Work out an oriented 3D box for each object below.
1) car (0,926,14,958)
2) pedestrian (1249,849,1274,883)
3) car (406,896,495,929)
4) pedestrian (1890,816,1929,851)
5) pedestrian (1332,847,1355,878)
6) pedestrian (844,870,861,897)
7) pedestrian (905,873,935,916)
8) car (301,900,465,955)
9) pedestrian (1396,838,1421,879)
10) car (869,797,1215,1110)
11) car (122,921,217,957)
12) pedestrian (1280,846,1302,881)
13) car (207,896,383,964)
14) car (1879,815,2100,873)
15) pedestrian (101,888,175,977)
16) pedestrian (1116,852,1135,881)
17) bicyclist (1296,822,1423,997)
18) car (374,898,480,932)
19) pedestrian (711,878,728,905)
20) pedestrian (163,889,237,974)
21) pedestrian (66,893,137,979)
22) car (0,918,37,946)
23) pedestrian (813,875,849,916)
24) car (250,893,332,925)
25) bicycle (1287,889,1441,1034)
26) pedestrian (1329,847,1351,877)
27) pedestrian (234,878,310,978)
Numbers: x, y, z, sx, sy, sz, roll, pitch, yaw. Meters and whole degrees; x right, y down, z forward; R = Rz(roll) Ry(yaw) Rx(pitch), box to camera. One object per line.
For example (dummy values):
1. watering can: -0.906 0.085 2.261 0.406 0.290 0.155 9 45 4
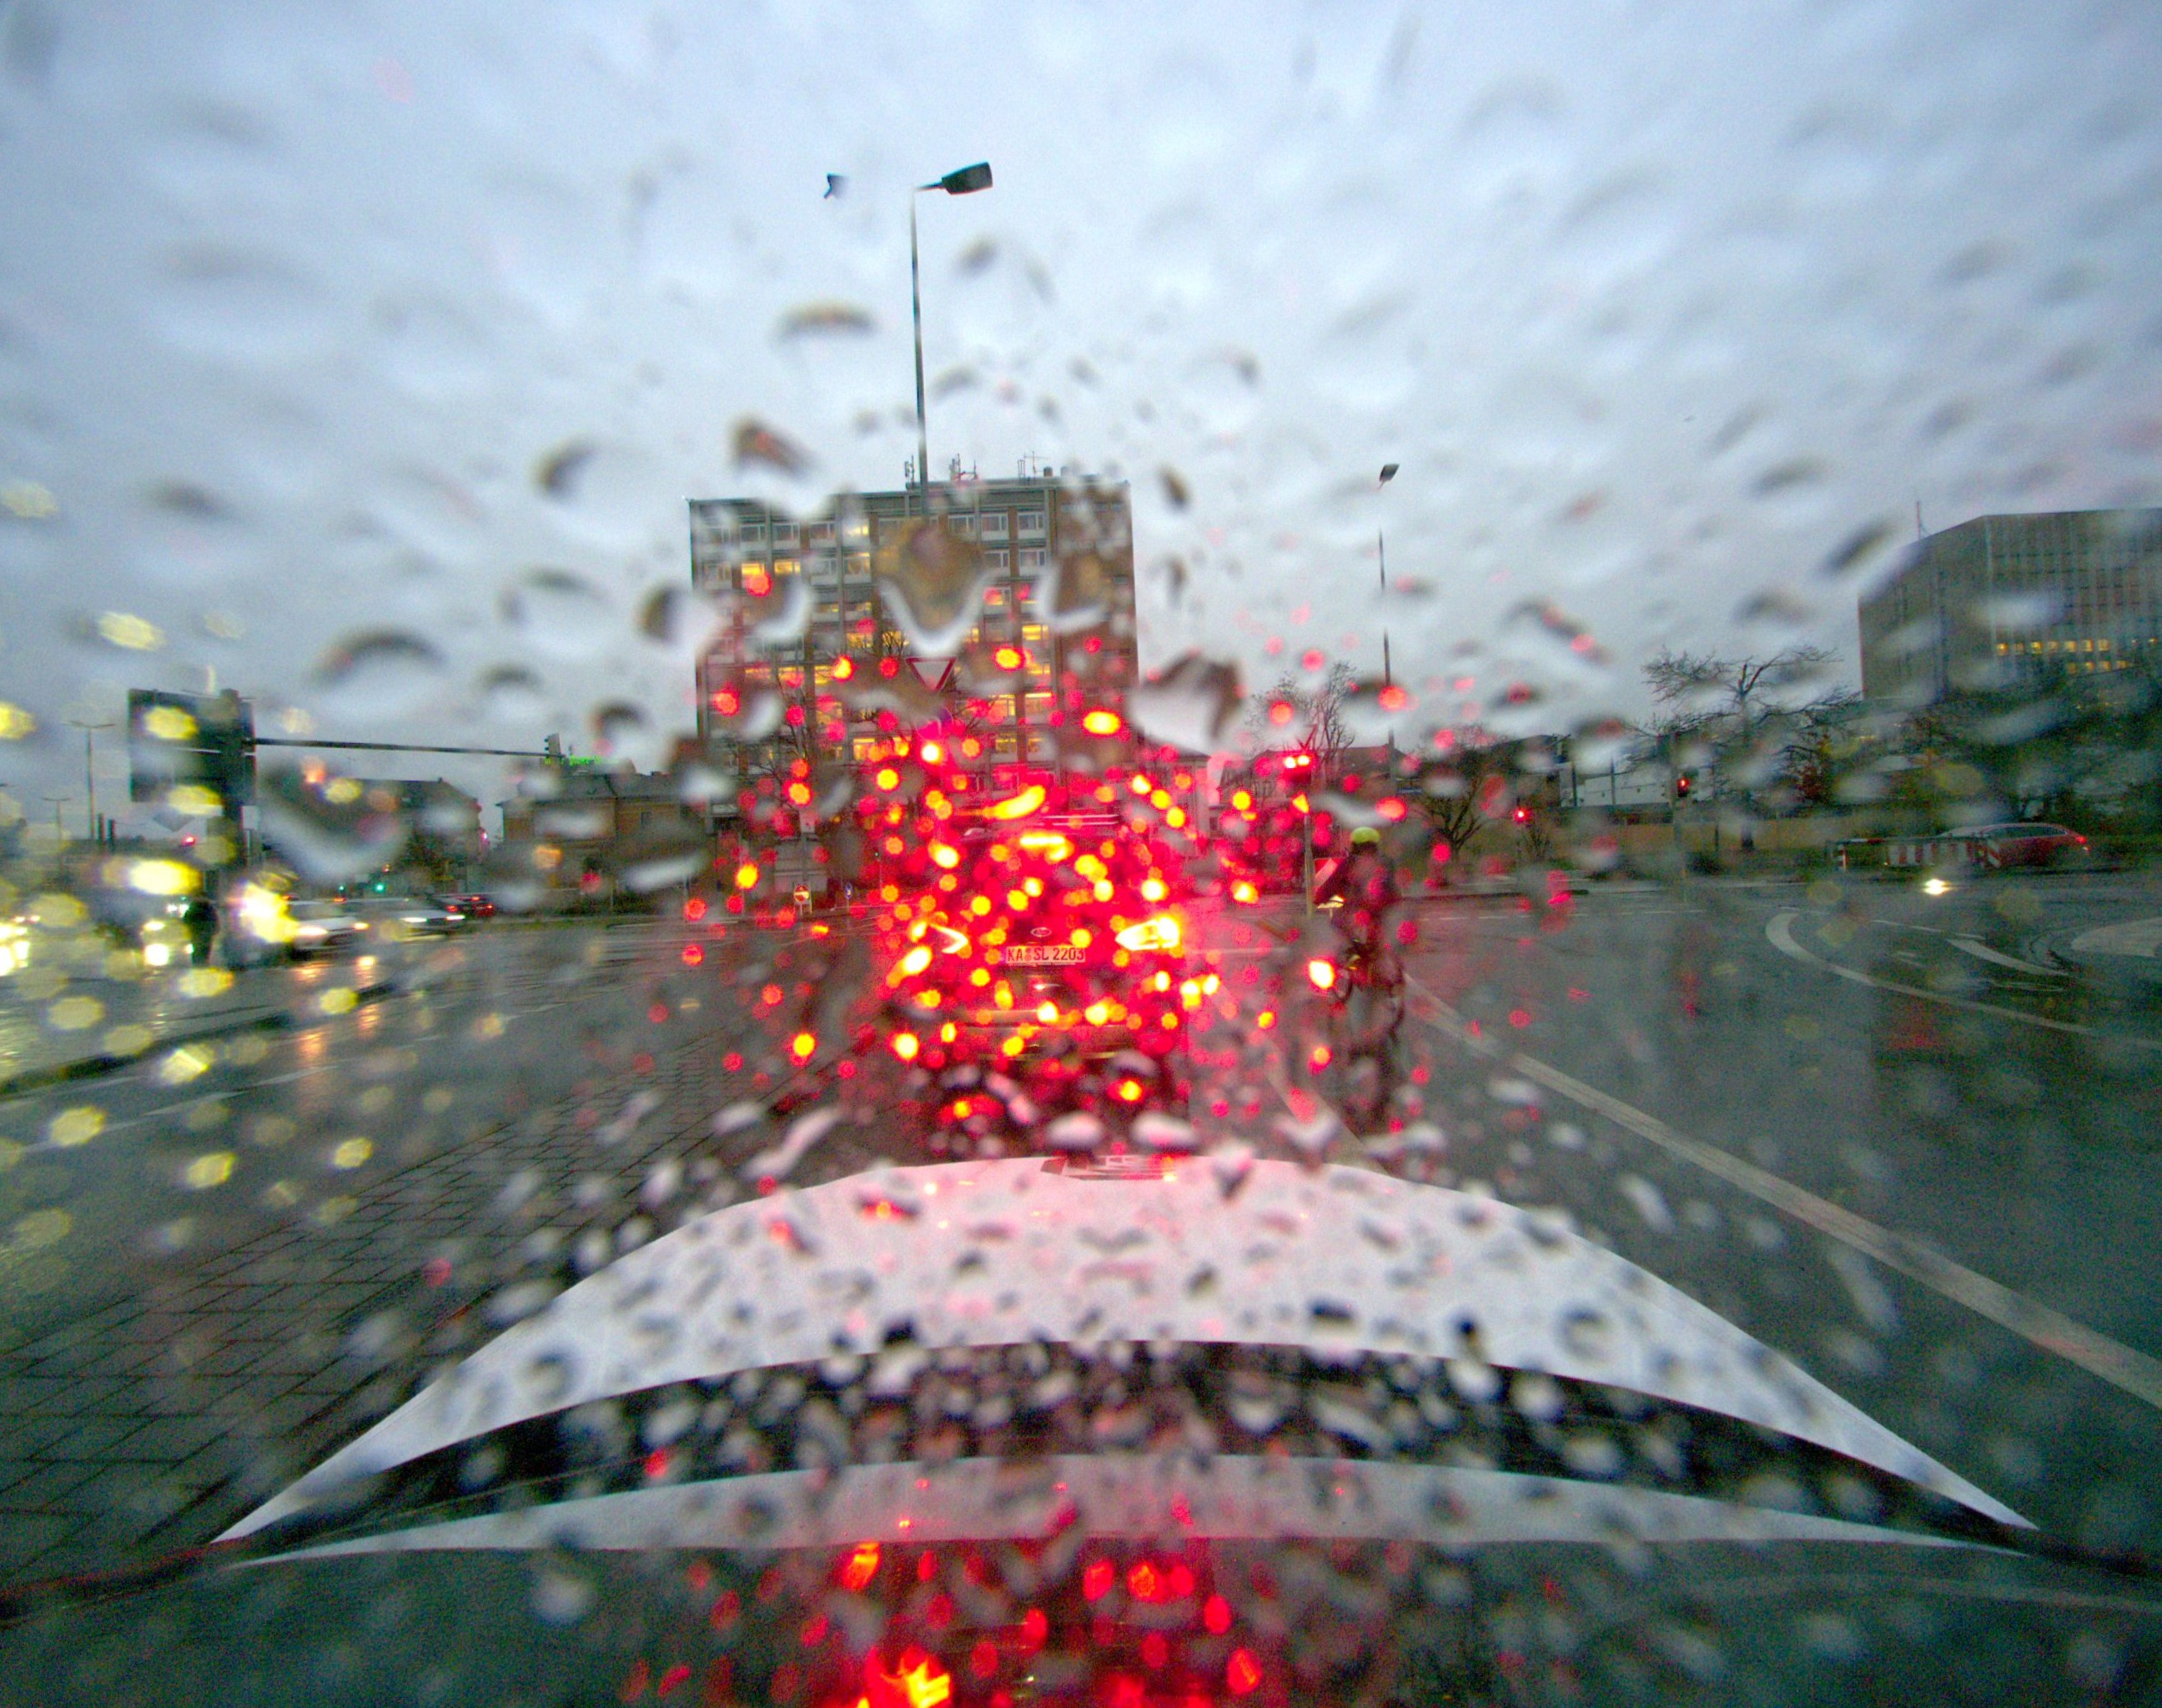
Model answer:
1. car: -52.882 4.265 38.413 4.538 1.477 1.820 -3 -1 20
2. pedestrian: 9.410 0.613 42.424 1.127 1.720 0.984 -3 0 12
3. car: -33.331 3.054 43.077 3.954 1.568 1.836 -1 -1 20
4. pedestrian: 39.848 -0.995 39.187 0.956 1.603 0.796 -3 0 9
5. pedestrian: 13.559 0.446 42.077 0.919 1.533 1.045 -3 0 8
6. pedestrian: -14.016 1.801 49.922 0.753 1.628 0.560 -3 0 16
7. pedestrian: -7.901 1.988 40.015 0.918 1.978 0.966 -3 0 33
8. car: -23.254 2.444 27.160 4.646 1.552 1.948 -3 -1 18
9. pedestrian: 17.409 0.247 43.297 0.879 2.113 0.896 -3 0 2
10. car: -0.165 0.588 6.689 1.986 1.789 4.001 0 -1 2
11. car: -42.605 3.966 38.074 3.919 1.477 1.821 -3 -1 24
12. pedestrian: 11.241 0.477 43.556 0.990 1.799 0.922 -3 0 10
13. car: -21.236 2.043 22.051 3.673 1.448 1.753 -5 -1 16
14. car: 27.607 -0.271 24.885 4.390 1.477 1.814 -3 -1 6
15. pedestrian: -20.789 1.709 17.969 0.733 1.838 0.674 -3 0 -11
16. pedestrian: 2.567 0.745 47.384 0.764 1.628 0.715 -3 0 -27
17. bicyclist: 2.470 0.469 7.354 0.780 1.453 1.134 0 -1 2
18. car: -32.522 3.028 40.566 3.966 1.568 1.830 0 -1 6
19. pedestrian: -23.800 2.461 53.593 0.634 1.688 0.640 -3 0 18
20. pedestrian: -19.545 1.705 18.075 0.653 1.755 0.856 -3 0 18
21. pedestrian: -21.489 1.779 17.874 0.741 1.770 0.546 -3 0 -12
22. car: -62.152 4.495 46.564 4.615 1.477 1.821 -3 -1 23
23. pedestrian: -12.087 2.012 39.391 0.991 1.842 1.146 -3 2 31
24. car: -51.161 3.530 52.773 1.649 1.826 3.609 -1 -1 39
25. bicycle: 2.492 0.897 7.438 0.780 1.075 1.958 0 -1 2
26. pedestrian: 13.717 0.433 43.172 0.888 1.533 0.887 -3 0 7
27. pedestrian: -17.321 1.551 17.466 0.996 2.021 0.792 -3 0 -39
